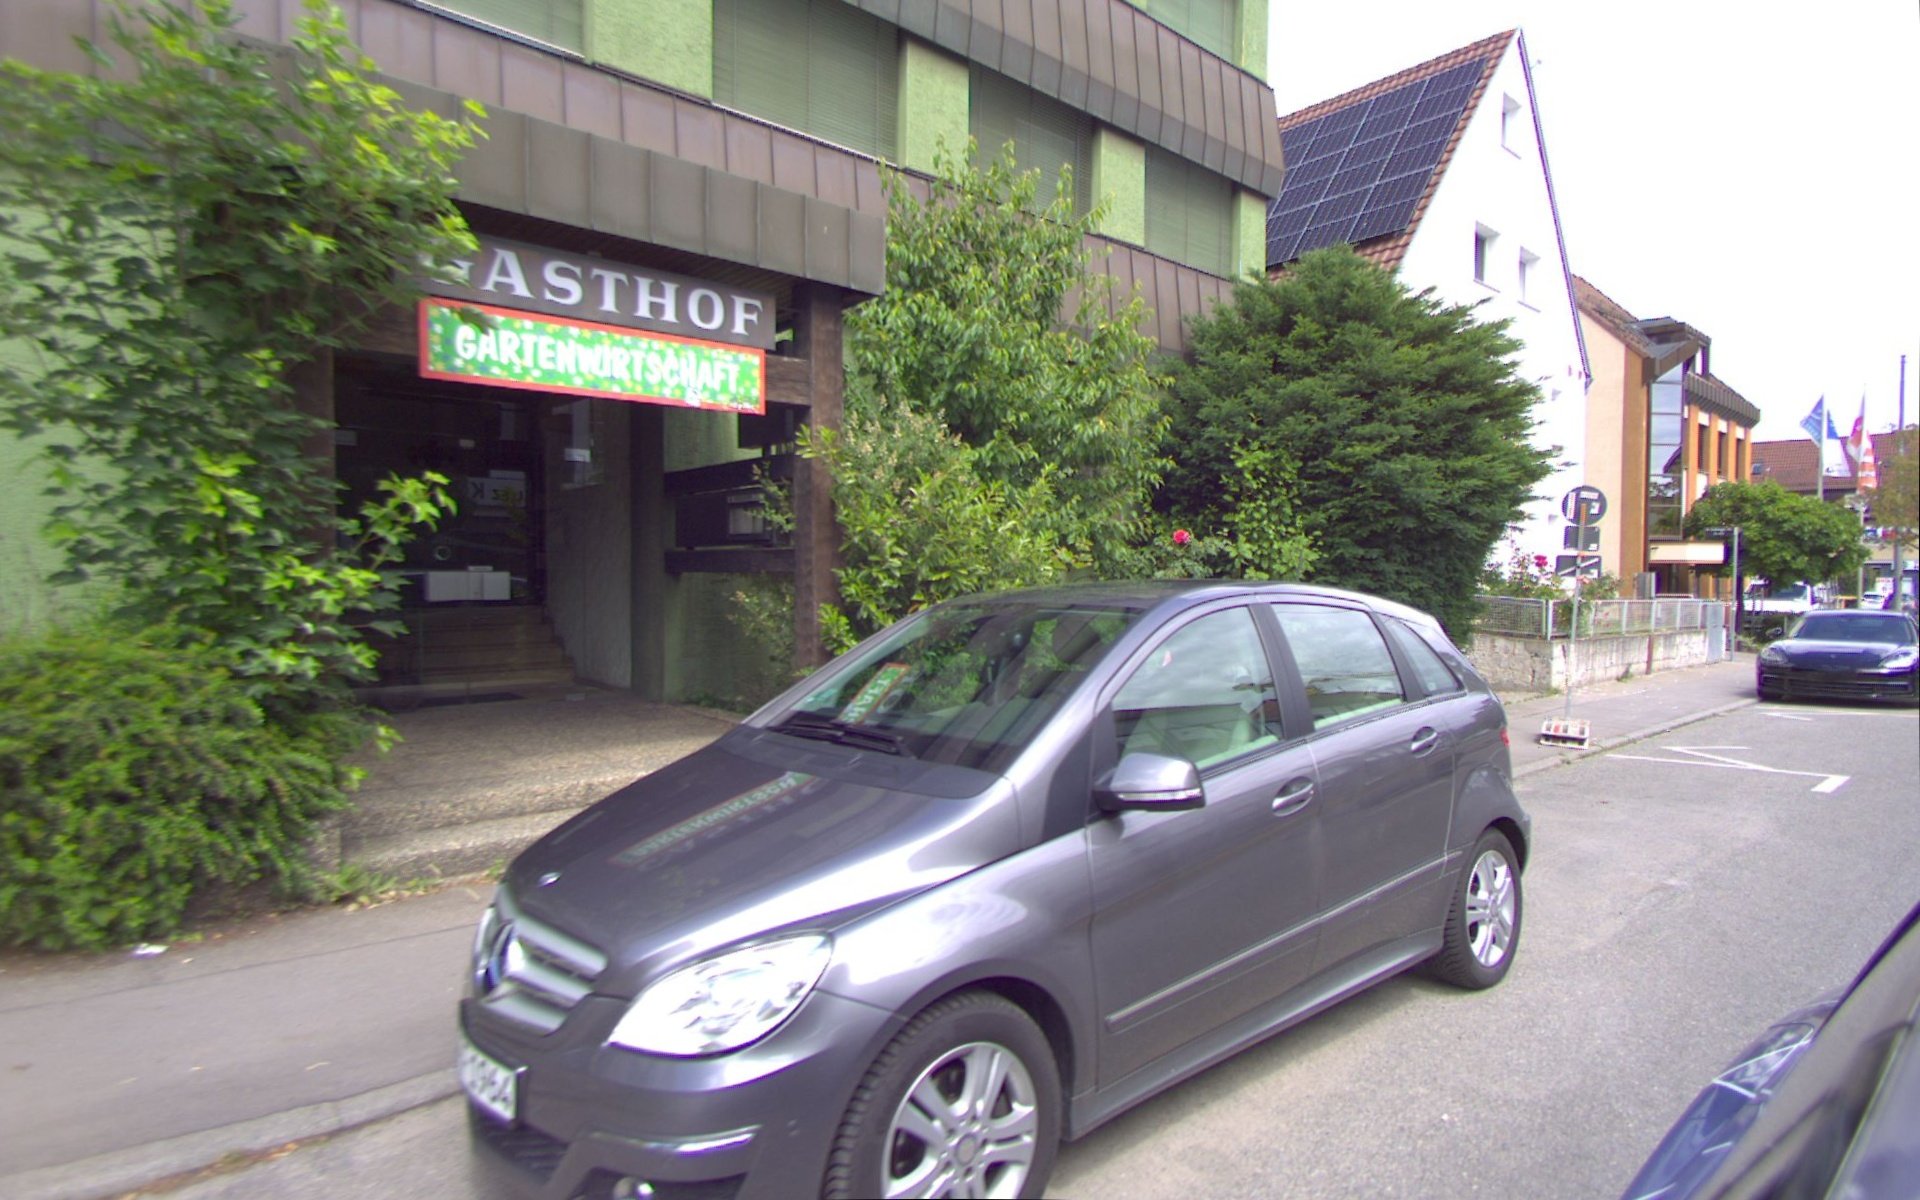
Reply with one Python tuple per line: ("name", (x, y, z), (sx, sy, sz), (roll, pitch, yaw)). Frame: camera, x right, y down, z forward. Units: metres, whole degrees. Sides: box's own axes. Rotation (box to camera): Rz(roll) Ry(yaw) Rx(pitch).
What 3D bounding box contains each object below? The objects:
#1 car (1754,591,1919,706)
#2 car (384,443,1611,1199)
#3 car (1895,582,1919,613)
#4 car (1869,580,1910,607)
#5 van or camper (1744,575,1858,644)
("car", (14.306, 0.646, 15.936), (4.669, 1.466, 1.988), (-1, 3, -41))
("car", (0.574, 0.591, 3.661), (4.381, 1.687, 1.694), (1, 1, -39))
("car", (55.825, -0.119, 58.642), (4.083, 1.613, 1.622), (0, 8, -38))
("car", (61.394, -0.435, 66.794), (4.135, 1.546, 1.637), (-2, 7, -44))
("van or camper", (26.824, 0.240, 32.244), (4.464, 2.057, 1.872), (-1, 1, -38))
